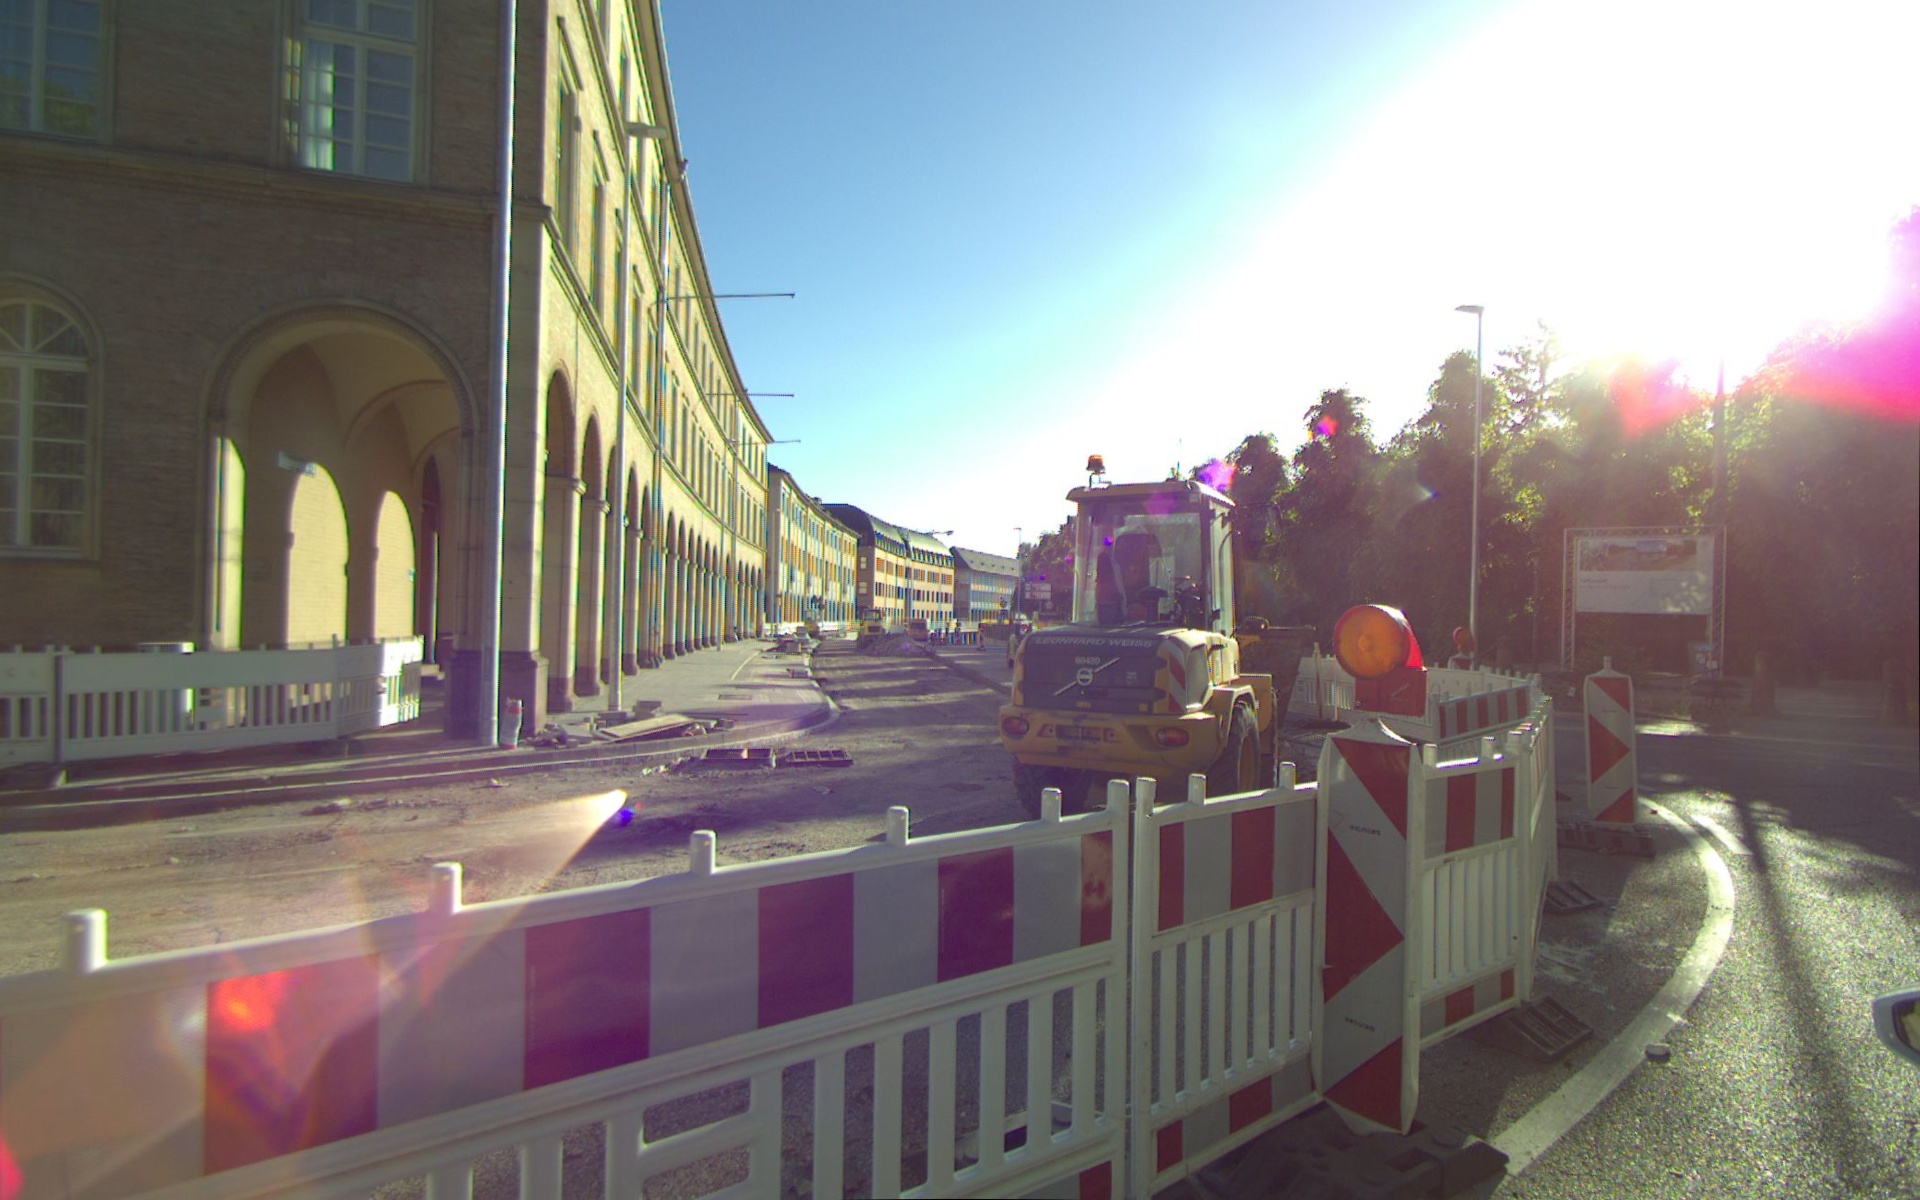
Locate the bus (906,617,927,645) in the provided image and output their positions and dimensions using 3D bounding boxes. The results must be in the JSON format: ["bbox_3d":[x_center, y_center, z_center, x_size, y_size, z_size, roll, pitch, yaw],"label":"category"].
[{"bbox_3d":[-4.470,3.286,104.618,2.039,2.721,4.685,1,-3,-1],"label":"bus"}]

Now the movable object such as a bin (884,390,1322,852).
[{"bbox_3d":[1.872,0.242,9.899,2.519,3.071,5.925,0,-2,27],"label":"movable object such as a bin"}]

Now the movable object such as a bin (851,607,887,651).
[{"bbox_3d":[-5.505,1.735,61.245,2.042,2.508,4.613,1,0,-5],"label":"movable object such as a bin"}]

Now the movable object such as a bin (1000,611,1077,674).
[{"bbox_3d":[2.621,1.393,34.602,2.017,1.975,4.332,1,0,-4],"label":"movable object such as a bin"}]
